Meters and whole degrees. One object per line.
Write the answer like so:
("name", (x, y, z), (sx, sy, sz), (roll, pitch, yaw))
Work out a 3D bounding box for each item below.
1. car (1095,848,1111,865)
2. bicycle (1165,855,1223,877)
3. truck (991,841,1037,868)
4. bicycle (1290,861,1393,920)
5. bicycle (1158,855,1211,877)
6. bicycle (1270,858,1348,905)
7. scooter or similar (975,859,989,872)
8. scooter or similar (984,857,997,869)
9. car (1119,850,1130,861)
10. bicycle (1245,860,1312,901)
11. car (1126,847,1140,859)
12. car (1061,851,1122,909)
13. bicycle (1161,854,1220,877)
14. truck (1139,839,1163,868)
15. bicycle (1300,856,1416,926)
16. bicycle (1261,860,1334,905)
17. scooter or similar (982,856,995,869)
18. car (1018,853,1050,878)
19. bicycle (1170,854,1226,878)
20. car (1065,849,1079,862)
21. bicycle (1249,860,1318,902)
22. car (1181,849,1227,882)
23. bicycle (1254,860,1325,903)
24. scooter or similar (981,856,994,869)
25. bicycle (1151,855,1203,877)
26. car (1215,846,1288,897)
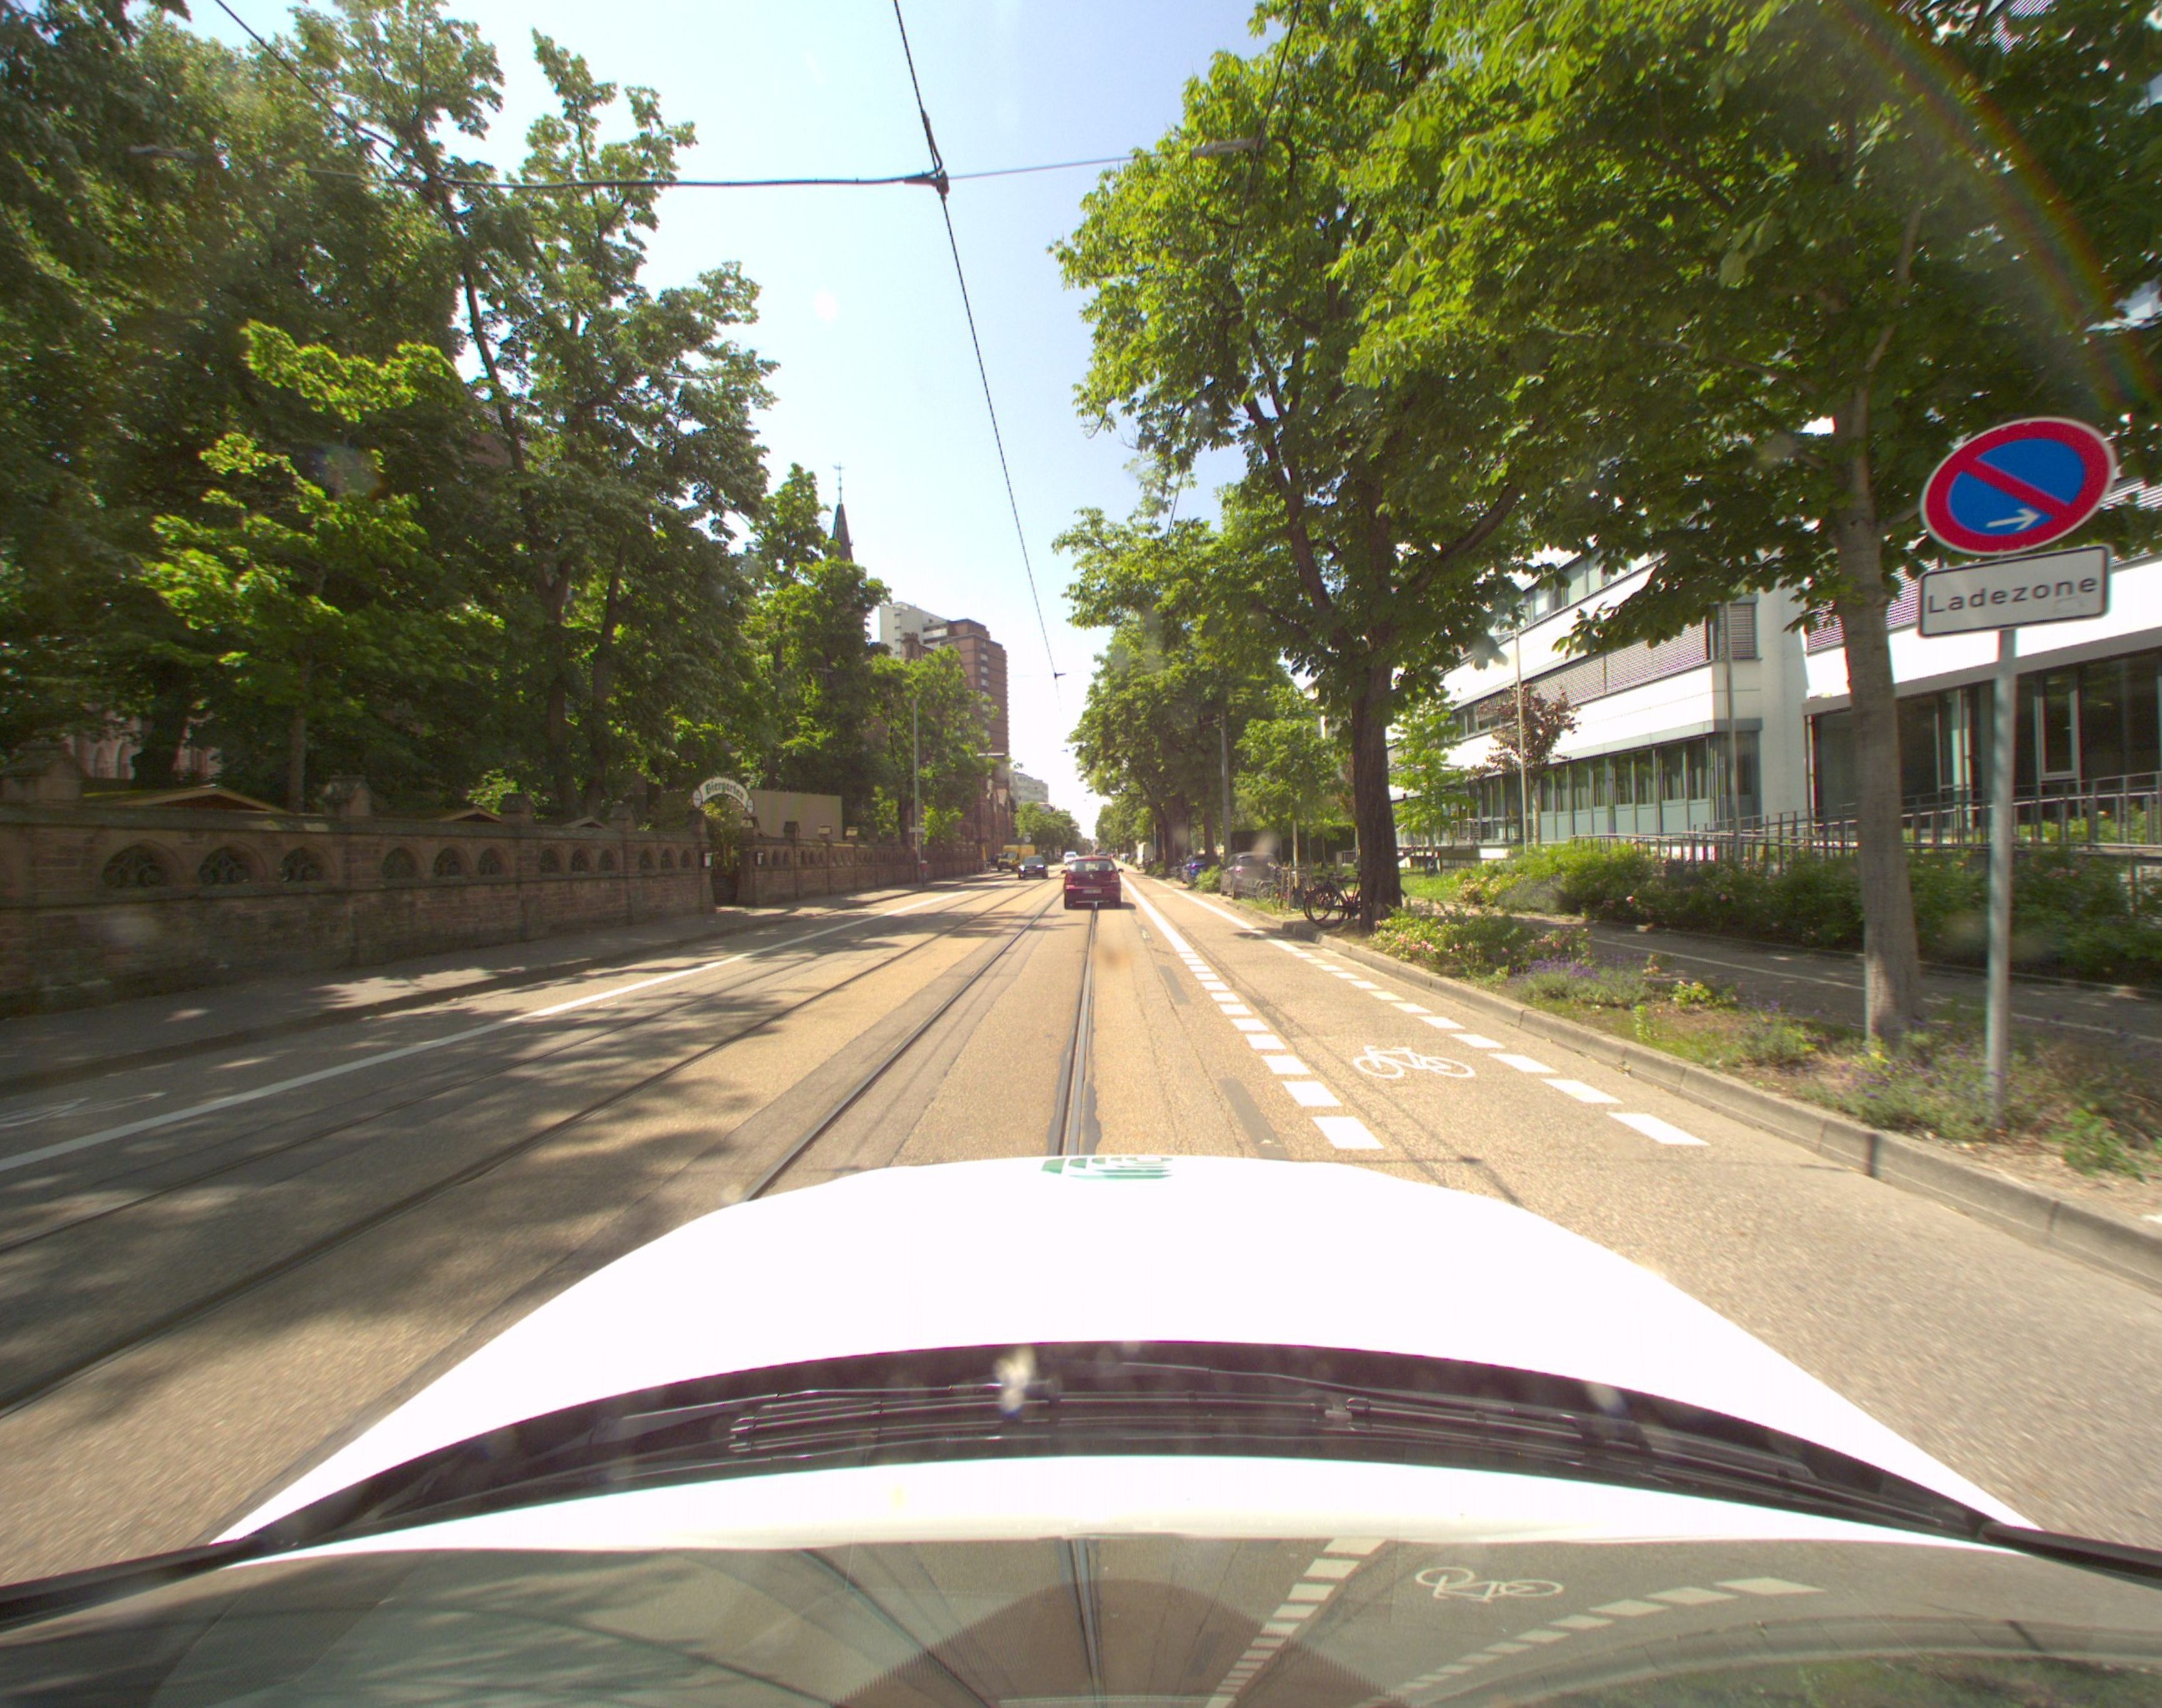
("car", (2.817, 0.309, 104.698), (1.988, 2.013, 3.999), (0, 0, -1))
("bicycle", (6.215, 0.676, 44.849), (3.060, 1.154, 0.781), (0, 0, -1))
("truck", (-7.186, 0.038, 88.681), (2.351, 2.787, 7.352), (-2, 0, 17))
("bicycle", (5.200, 0.725, 16.314), (1.817, 1.085, 0.719), (-2, -1, 4))
("bicycle", (6.163, 0.719, 48.750), (3.060, 1.313, 0.781), (0, 0, -1))
("bicycle", (5.621, 0.666, 20.107), (1.745, 1.085, 0.548), (-2, 0, 1))
("scooter or similar", (-8.658, 0.993, 71.071), (1.092, 1.155, 0.524), (-1, 0, -20))
("scooter or similar", (-8.357, 0.821, 74.931), (1.092, 1.155, 0.524), (-1, 0, -20))
("car", (6.692, 0.179, 125.725), (1.668, 1.656, 4.001), (0, 0, 1))
("bicycle", (5.635, 0.744, 23.280), (1.745, 1.085, 0.548), (-2, 0, 1))
("car", (6.920, -0.152, 108.444), (1.668, 1.656, 4.001), (0, 0, 1))
("car", (0.316, 0.698, 24.086), (1.613, 1.486, 4.000), (-2, 0, 1))
("bicycle", (6.439, 0.660, 47.834), (3.357, 1.313, 0.781), (0, 0, -1))
("truck", (6.554, -0.099, 76.915), (1.986, 2.661, 4.876), (0, 0, 1))
("bicycle", (5.110, 0.672, 15.083), (1.877, 1.182, 0.694), (-2, 0, 1))
("bicycle", (5.625, 0.737, 21.204), (1.745, 1.085, 0.548), (-2, 0, 1))
("scooter or similar", (-8.363, 0.803, 73.672), (1.092, 1.155, 0.524), (-1, 0, -20))
("car", (-3.076, 0.720, 53.852), (1.764, 1.516, 4.001), (-2, 0, 1))
("bicycle", (6.629, 0.699, 46.287), (3.060, 1.313, 0.781), (0, 0, -1))
("car", (-1.309, 0.213, 122.405), (1.986, 1.854, 4.683), (-2, 0, 1))
("bicycle", (5.610, 0.750, 22.632), (1.745, 1.085, 0.548), (-2, 0, 1))
("car", (5.916, 0.541, 39.599), (1.682, 1.468, 3.880), (-2, 0, 1))
("bicycle", (5.625, 0.749, 22.022), (1.745, 1.085, 0.548), (-2, 0, 1))
("scooter or similar", (-8.552, 0.768, 74.264), (1.092, 1.155, 0.524), (-1, 0, -20))
("bicycle", (5.871, 0.723, 49.729), (3.060, 1.313, 0.781), (0, 0, -1))
("car", (5.663, 0.531, 27.372), (1.682, 1.503, 3.628), (-3, 0, 1))
